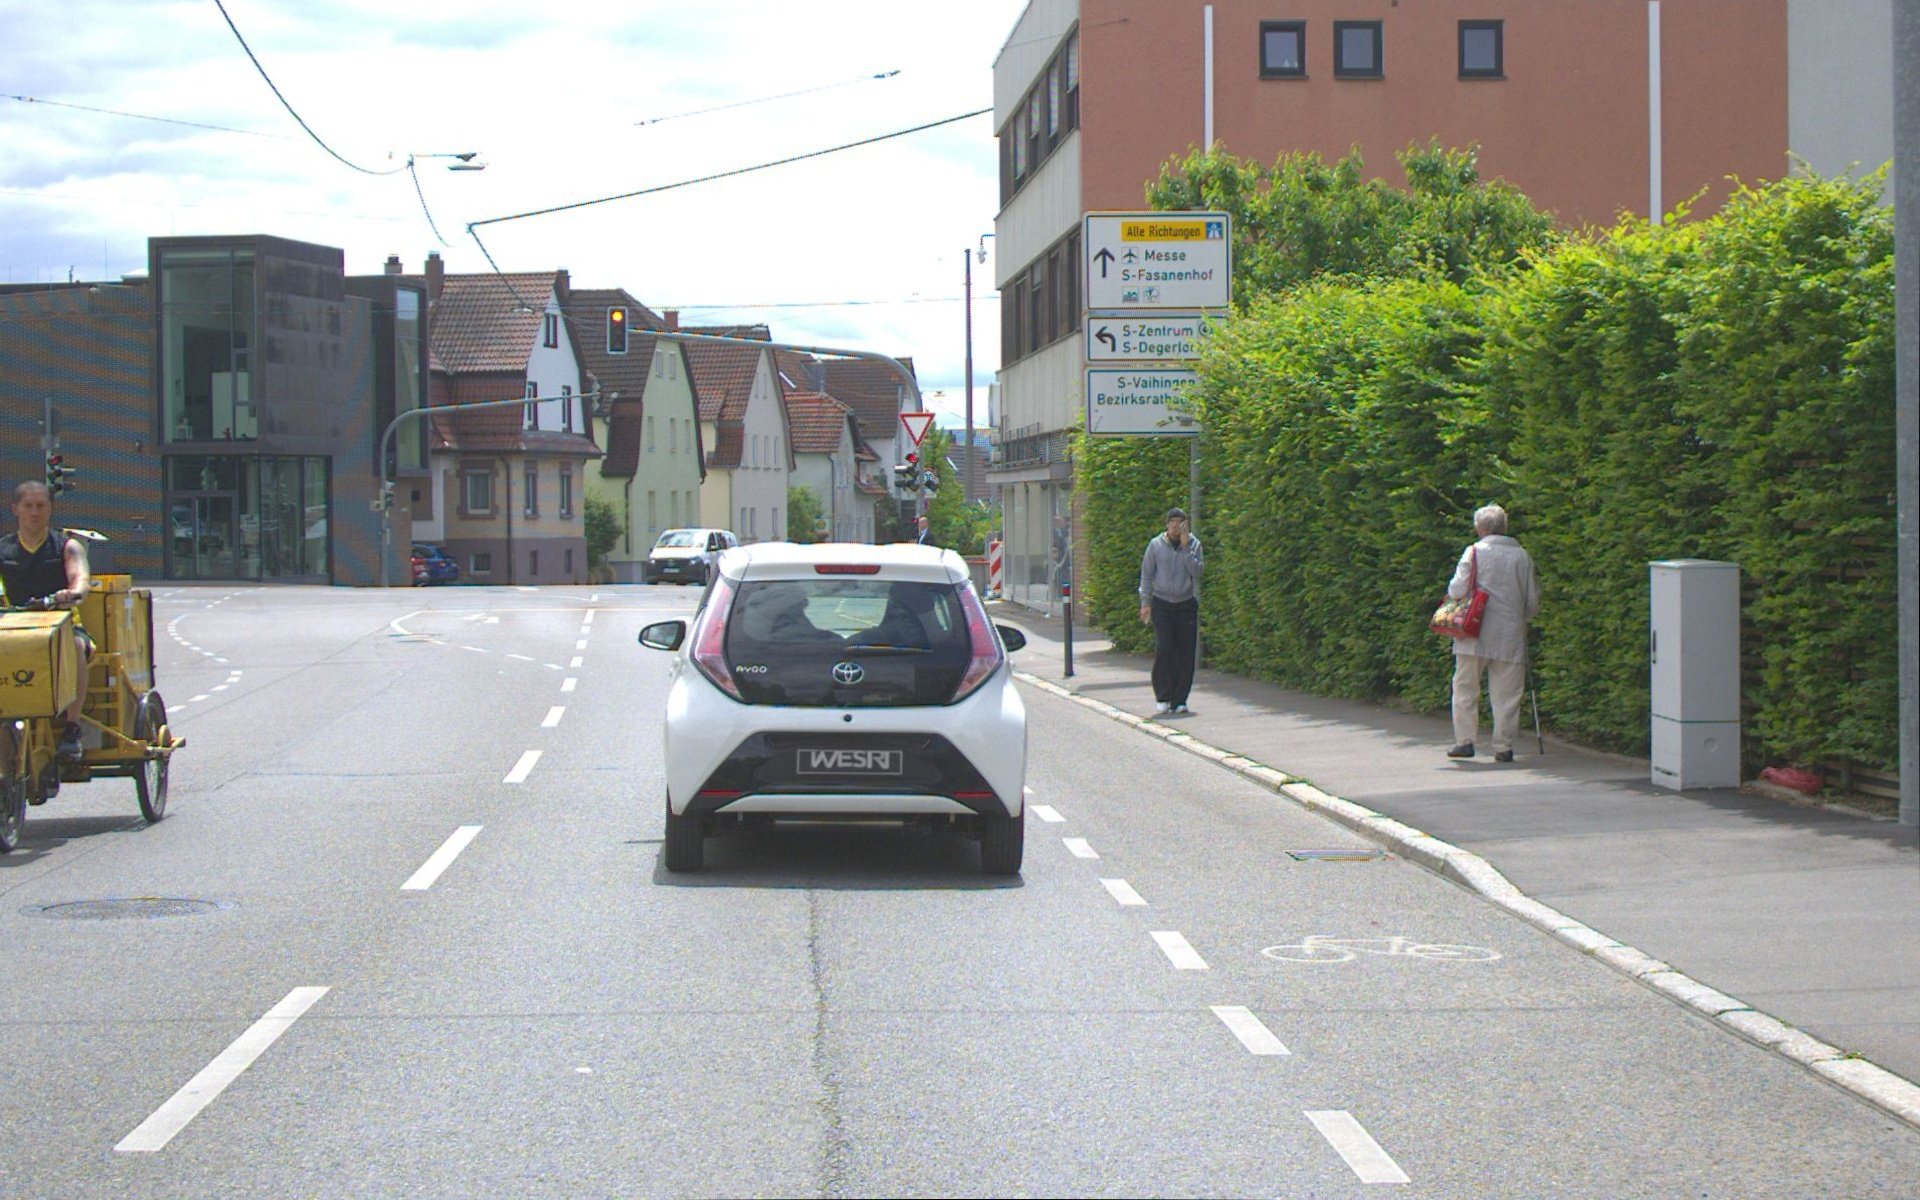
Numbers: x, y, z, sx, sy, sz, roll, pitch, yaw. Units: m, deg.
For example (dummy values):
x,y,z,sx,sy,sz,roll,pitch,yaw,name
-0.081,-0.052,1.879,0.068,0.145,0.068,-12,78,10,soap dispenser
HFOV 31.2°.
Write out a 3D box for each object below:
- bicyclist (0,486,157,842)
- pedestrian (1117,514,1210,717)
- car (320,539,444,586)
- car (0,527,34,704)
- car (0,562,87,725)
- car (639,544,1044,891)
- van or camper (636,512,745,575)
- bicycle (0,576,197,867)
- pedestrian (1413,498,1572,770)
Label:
x,y,z,sx,sy,sz,roll,pitch,yaw,name
-4.548,0.296,17.117,0.792,1.708,1.209,-1,1,0,bicyclist
1.647,0.116,27.899,0.602,1.600,0.836,-2,1,-3,pedestrian
-18.784,-1.213,111.747,3.615,1.414,1.691,2,1,7,car
-9.884,0.166,31.287,1.993,1.645,4.518,-1,1,-4,car
-10.623,0.422,36.484,1.993,1.582,4.490,-1,1,-6,car
-0.602,0.478,16.329,1.697,1.451,3.299,1,1,-3,car
-8.548,-1.780,109.509,2.116,1.919,5.283,2,1,10,van or camper
-4.535,0.555,17.195,0.863,1.297,2.662,-1,1,-1,bicycle
3.237,0.197,20.943,0.799,1.612,0.653,-2,1,-3,pedestrian
